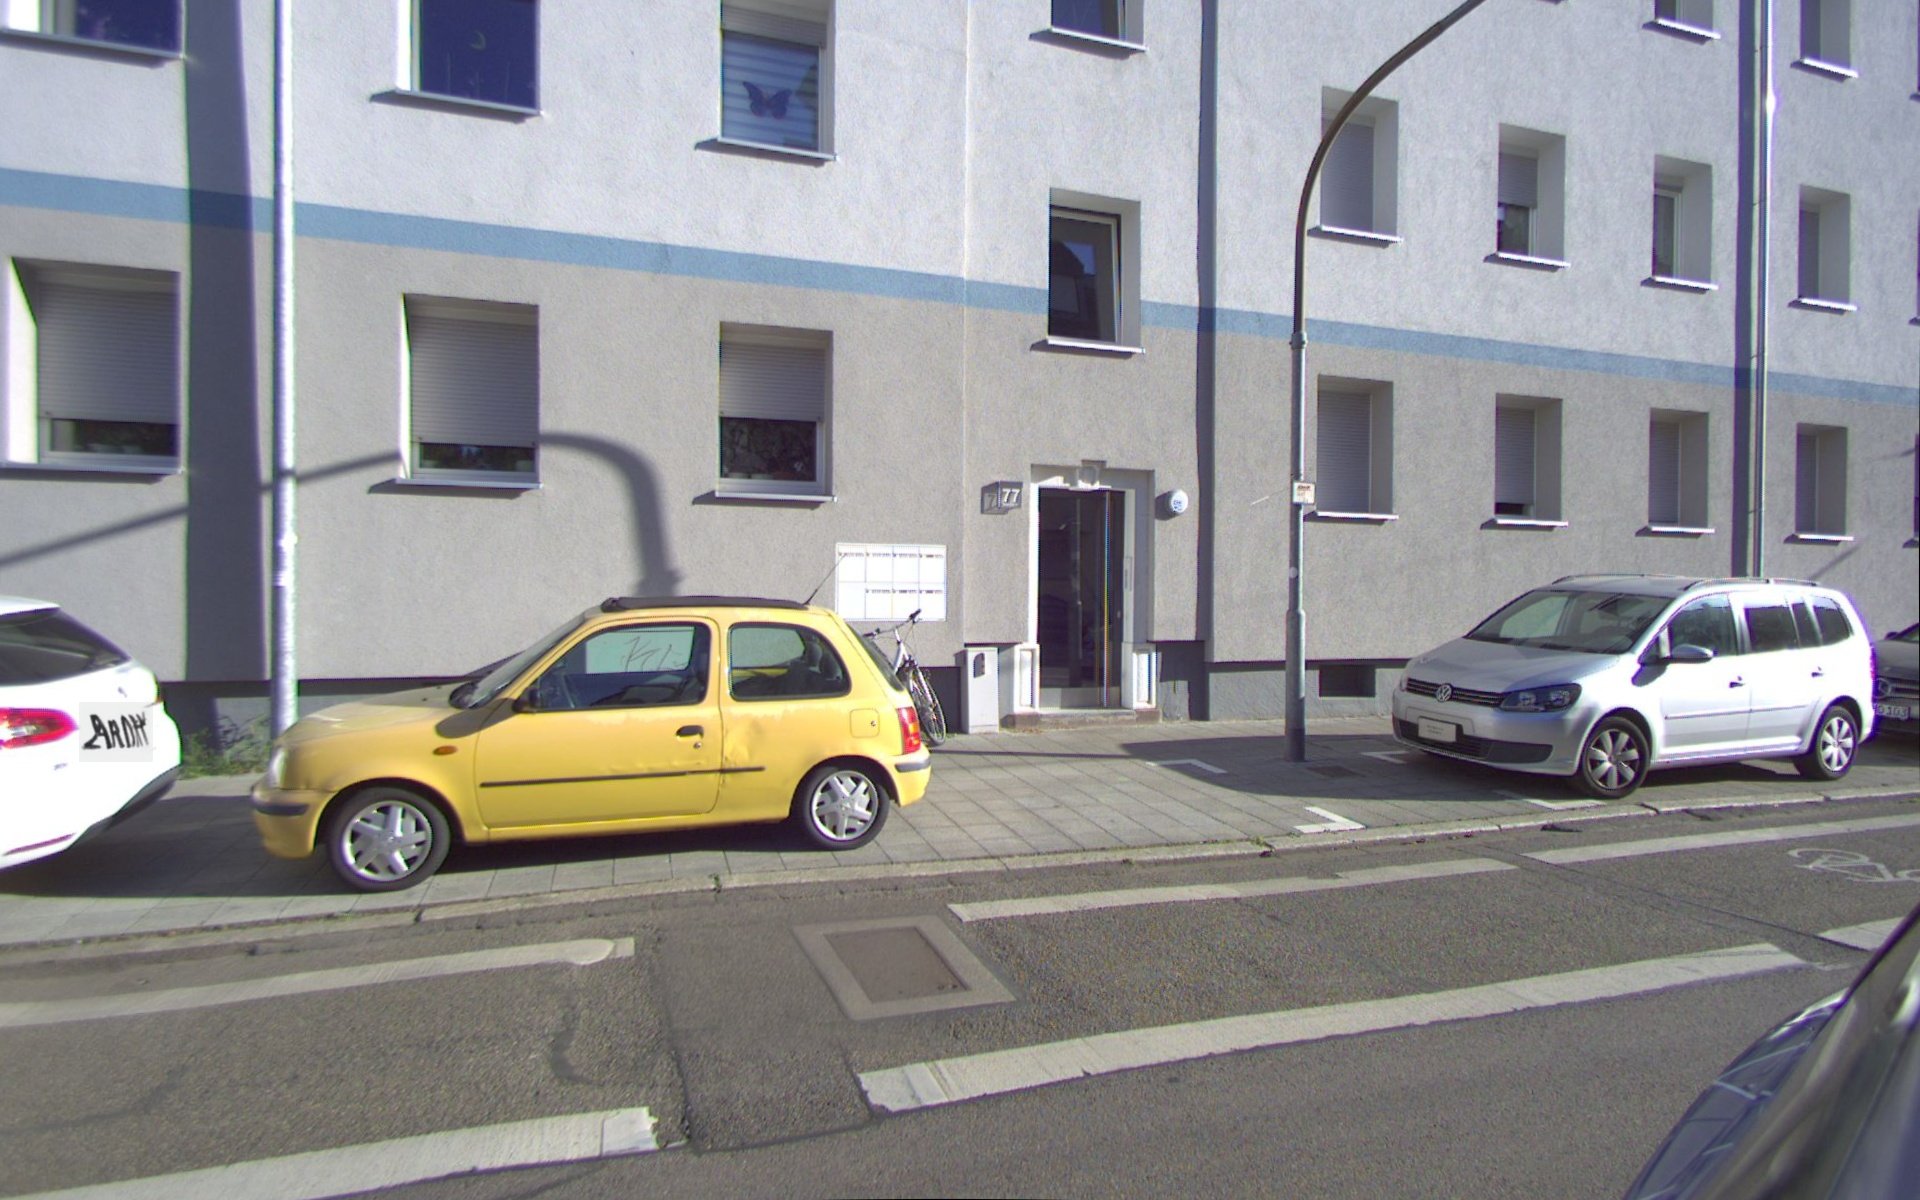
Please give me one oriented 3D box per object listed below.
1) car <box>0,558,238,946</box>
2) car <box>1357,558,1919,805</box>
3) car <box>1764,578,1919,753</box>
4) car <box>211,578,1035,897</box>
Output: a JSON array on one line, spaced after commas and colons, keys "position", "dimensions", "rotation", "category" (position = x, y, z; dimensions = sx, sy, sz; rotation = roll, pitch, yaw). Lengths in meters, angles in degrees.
[{"position": [-6.035, 0.601, 4.389], "dimensions": [4.414, 1.590, 1.689], "rotation": [0, 2, -19], "category": "car"}, {"position": [5.823, 0.532, 8.603], "dimensions": [4.529, 1.686, 1.765], "rotation": [0, 2, -21], "category": "car"}, {"position": [10.712, 0.606, 10.272], "dimensions": [4.274, 1.574, 1.874], "rotation": [0, 2, -17], "category": "car"}, {"position": [-1.750, 0.604, 6.061], "dimensions": [4.113, 1.448, 1.522], "rotation": [0, 2, -19], "category": "car"}]
